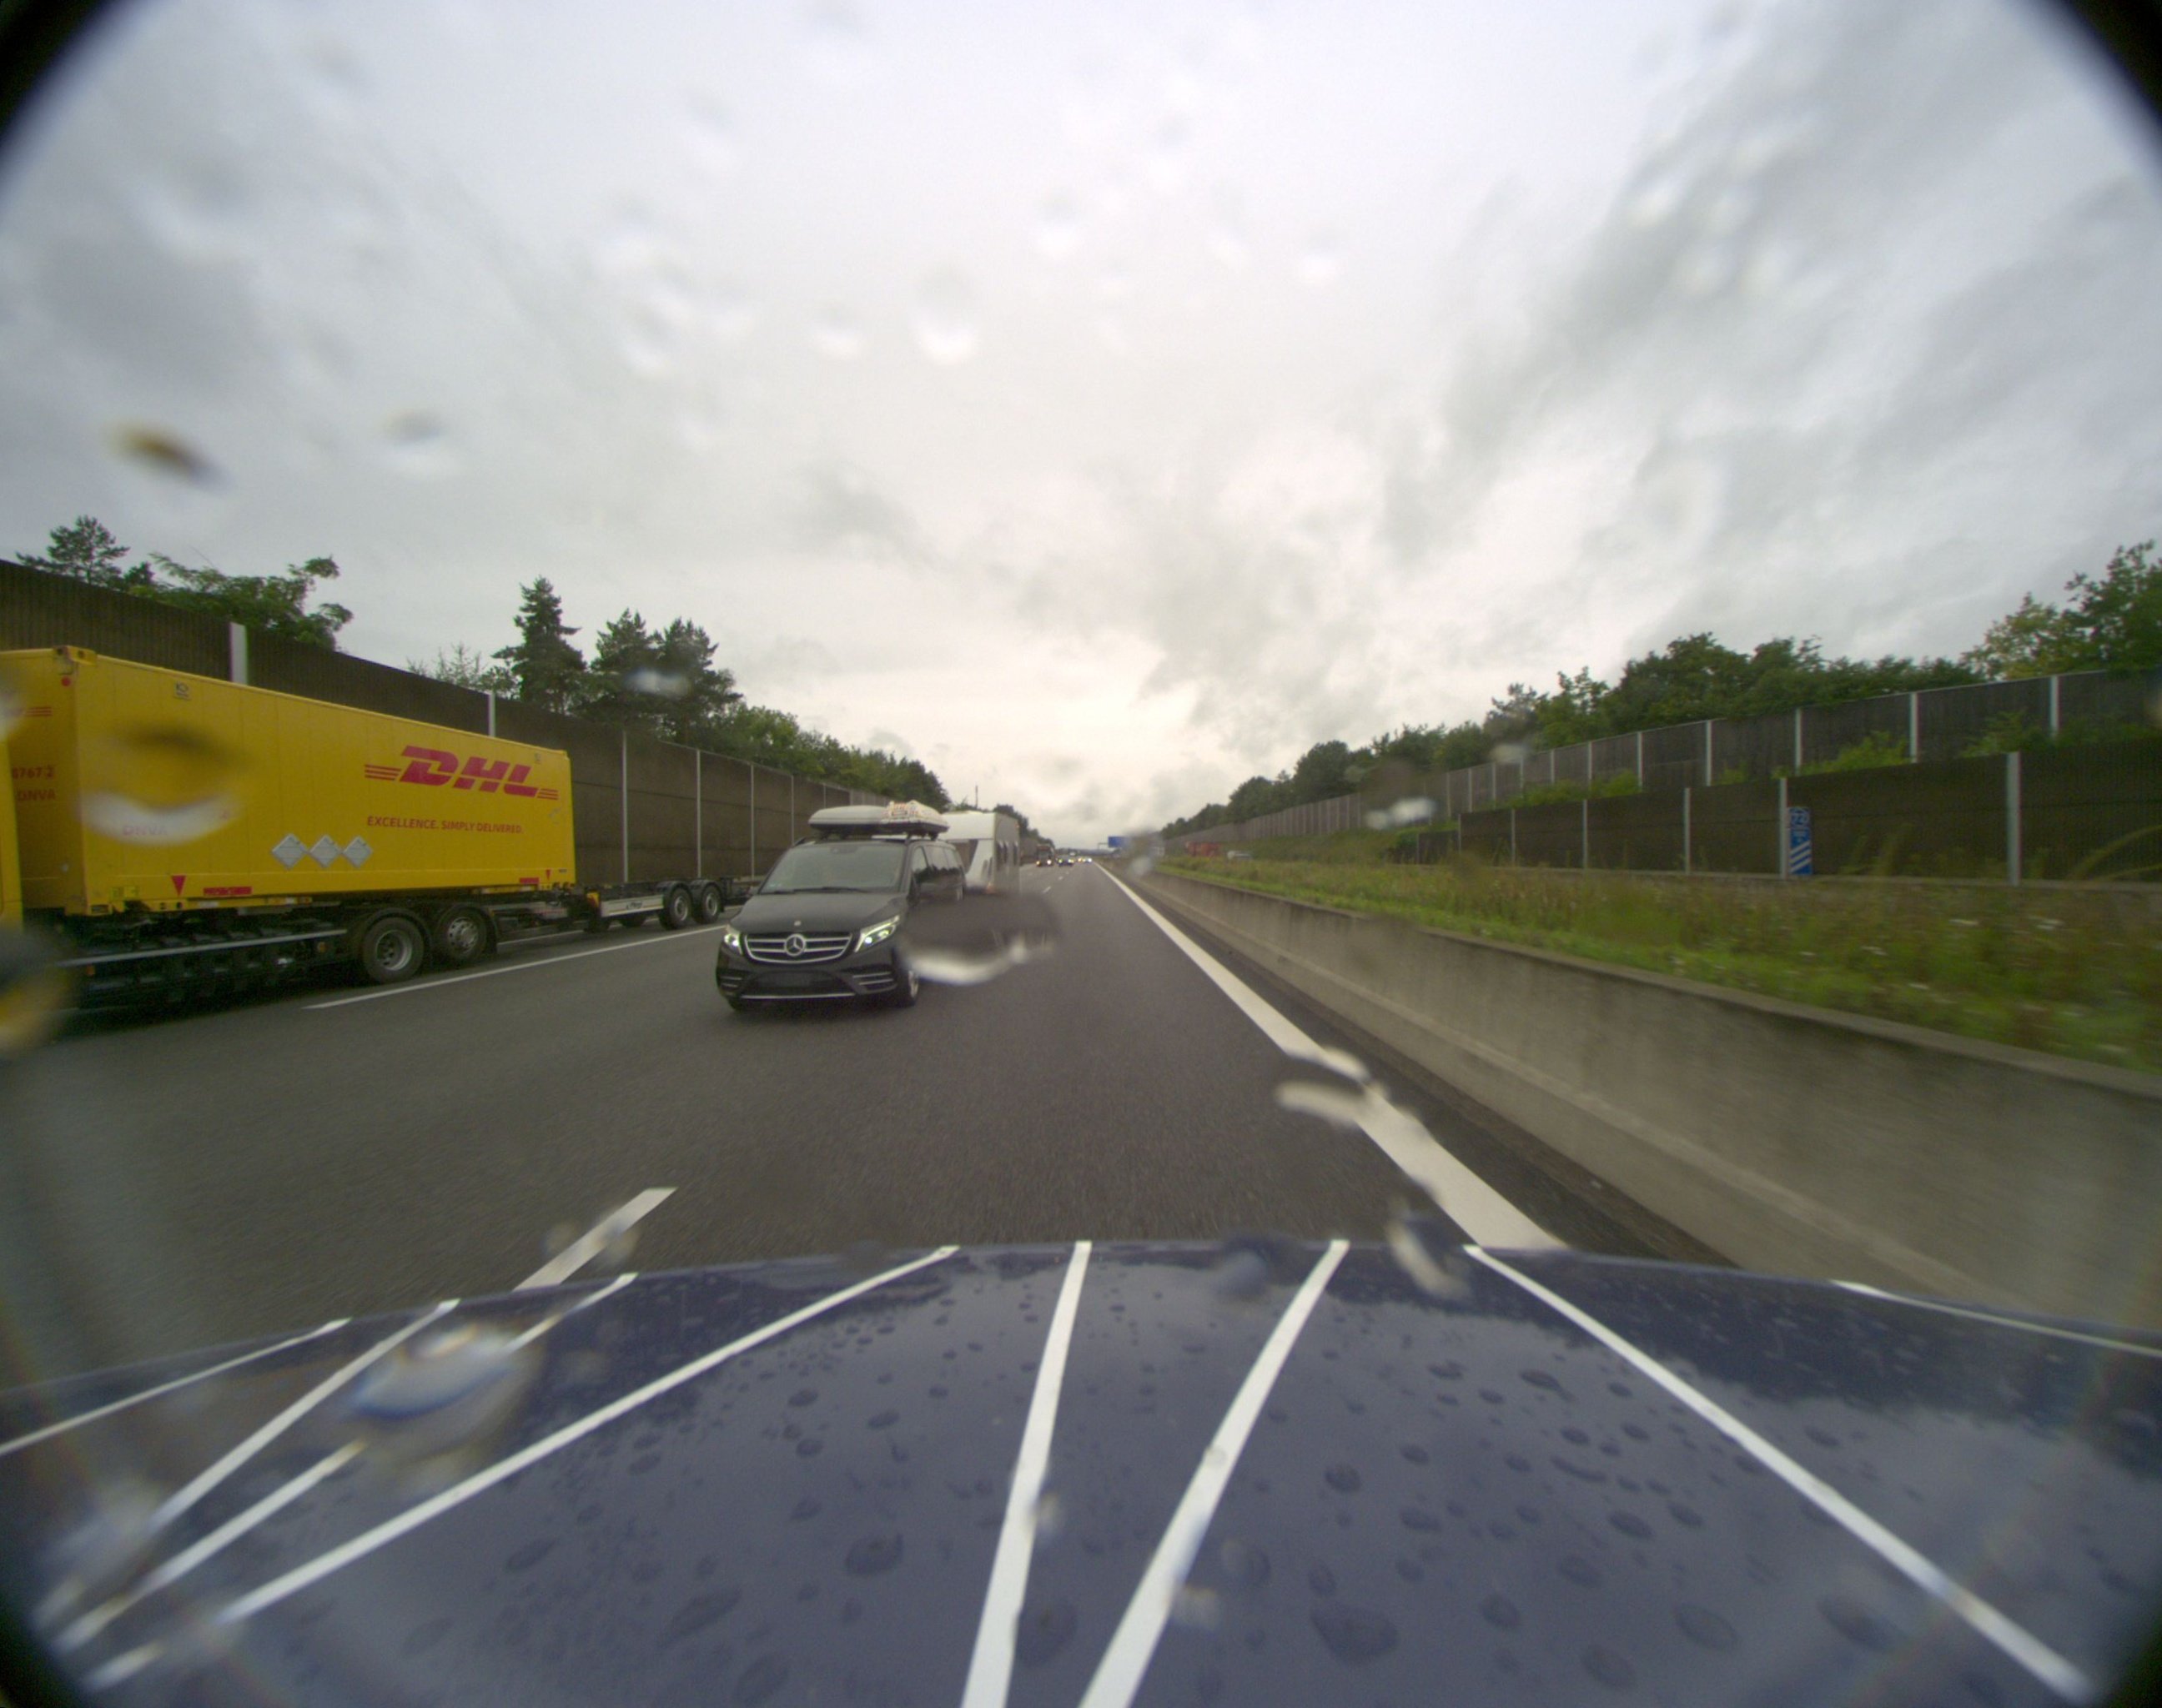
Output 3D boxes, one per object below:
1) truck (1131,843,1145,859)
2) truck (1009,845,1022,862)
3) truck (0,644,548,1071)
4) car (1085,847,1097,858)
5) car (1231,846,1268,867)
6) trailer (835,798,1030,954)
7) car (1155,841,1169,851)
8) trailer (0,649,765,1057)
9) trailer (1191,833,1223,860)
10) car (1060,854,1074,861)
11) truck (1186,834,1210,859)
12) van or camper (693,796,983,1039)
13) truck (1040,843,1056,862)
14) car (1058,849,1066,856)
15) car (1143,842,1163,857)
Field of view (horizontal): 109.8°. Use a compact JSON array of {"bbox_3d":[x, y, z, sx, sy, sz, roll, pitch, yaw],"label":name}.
[{"bbox_3d":[16.512,-0.834,221.458,3.159,4.300,12.679,-3,1,1],"label":"truck"},{"bbox_3d":[-12.925,-0.105,149.426,2.421,3.445,3.999,-1,0,-3],"label":"truck"},{"bbox_3d":[-11.325,0.049,9.422,2.692,3.935,9.324,-3,1,0],"label":"truck"},{"bbox_3d":[2.260,-0.302,174.460,2.680,2.340,5.807,-1,0,-1],"label":"car"},{"bbox_3d":[13.682,0.161,61.936,1.998,1.532,4.769,-2,0,1],"label":"car"},{"bbox_3d":[-2.773,0.365,16.673,2.728,2.627,7.511,-1,0,0],"label":"trailer"},{"bbox_3d":[20.196,-2.056,189.443,2.833,2.245,4.733,-3,1,1],"label":"car"},{"bbox_3d":[-11.371,-0.036,15.681,2.658,3.930,16.683,-3,1,0],"label":"trailer"},{"bbox_3d":[18.523,-1.105,112.410,2.733,3.662,12.562,-1,0,1],"label":"trailer"},{"bbox_3d":[-2.209,0.515,118.901,2.061,1.020,3.438,-3,1,1],"label":"car"},{"bbox_3d":[18.591,-1.178,120.992,2.703,3.685,6.480,-3,1,1],"label":"truck"},{"bbox_3d":[-2.664,0.595,10.042,1.895,2.256,5.679,-2,0,1],"label":"van or camper"},{"bbox_3d":[-5.842,-0.290,134.196,2.617,3.218,4.632,-1,0,1],"label":"truck"},{"bbox_3d":[-4.967,-0.469,201.437,1.998,1.747,4.000,-1,0,1],"label":"car"},{"bbox_3d":[11.181,-0.676,118.937,2.379,2.180,7.723,-1,1,1],"label":"car"}]
